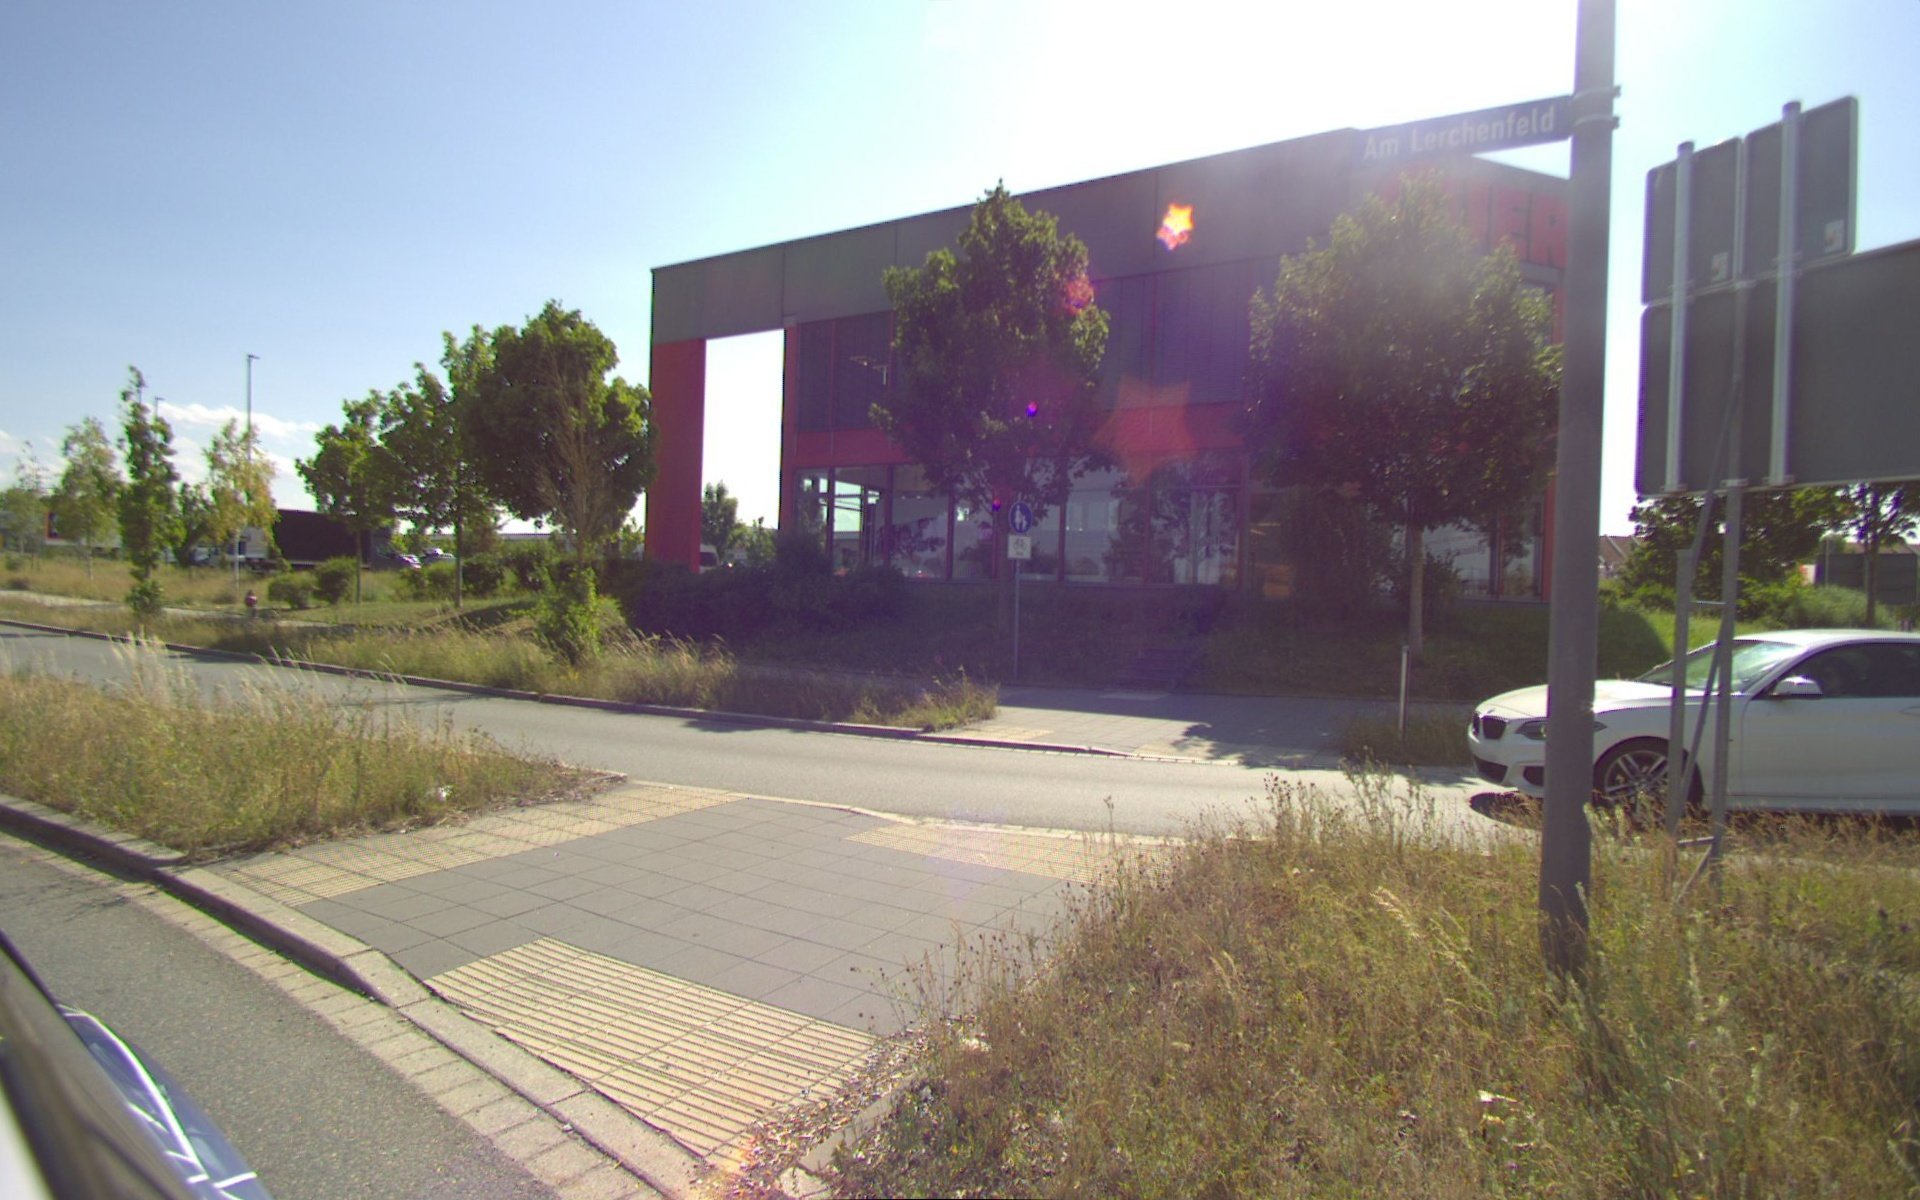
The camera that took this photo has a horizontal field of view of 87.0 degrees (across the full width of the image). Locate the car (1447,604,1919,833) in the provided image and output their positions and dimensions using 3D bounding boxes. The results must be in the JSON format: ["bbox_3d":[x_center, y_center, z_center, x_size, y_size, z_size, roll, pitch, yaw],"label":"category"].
[{"bbox_3d":[6.245,0.851,7.543,4.328,1.426,1.794,2,-3,6],"label":"car"}]
